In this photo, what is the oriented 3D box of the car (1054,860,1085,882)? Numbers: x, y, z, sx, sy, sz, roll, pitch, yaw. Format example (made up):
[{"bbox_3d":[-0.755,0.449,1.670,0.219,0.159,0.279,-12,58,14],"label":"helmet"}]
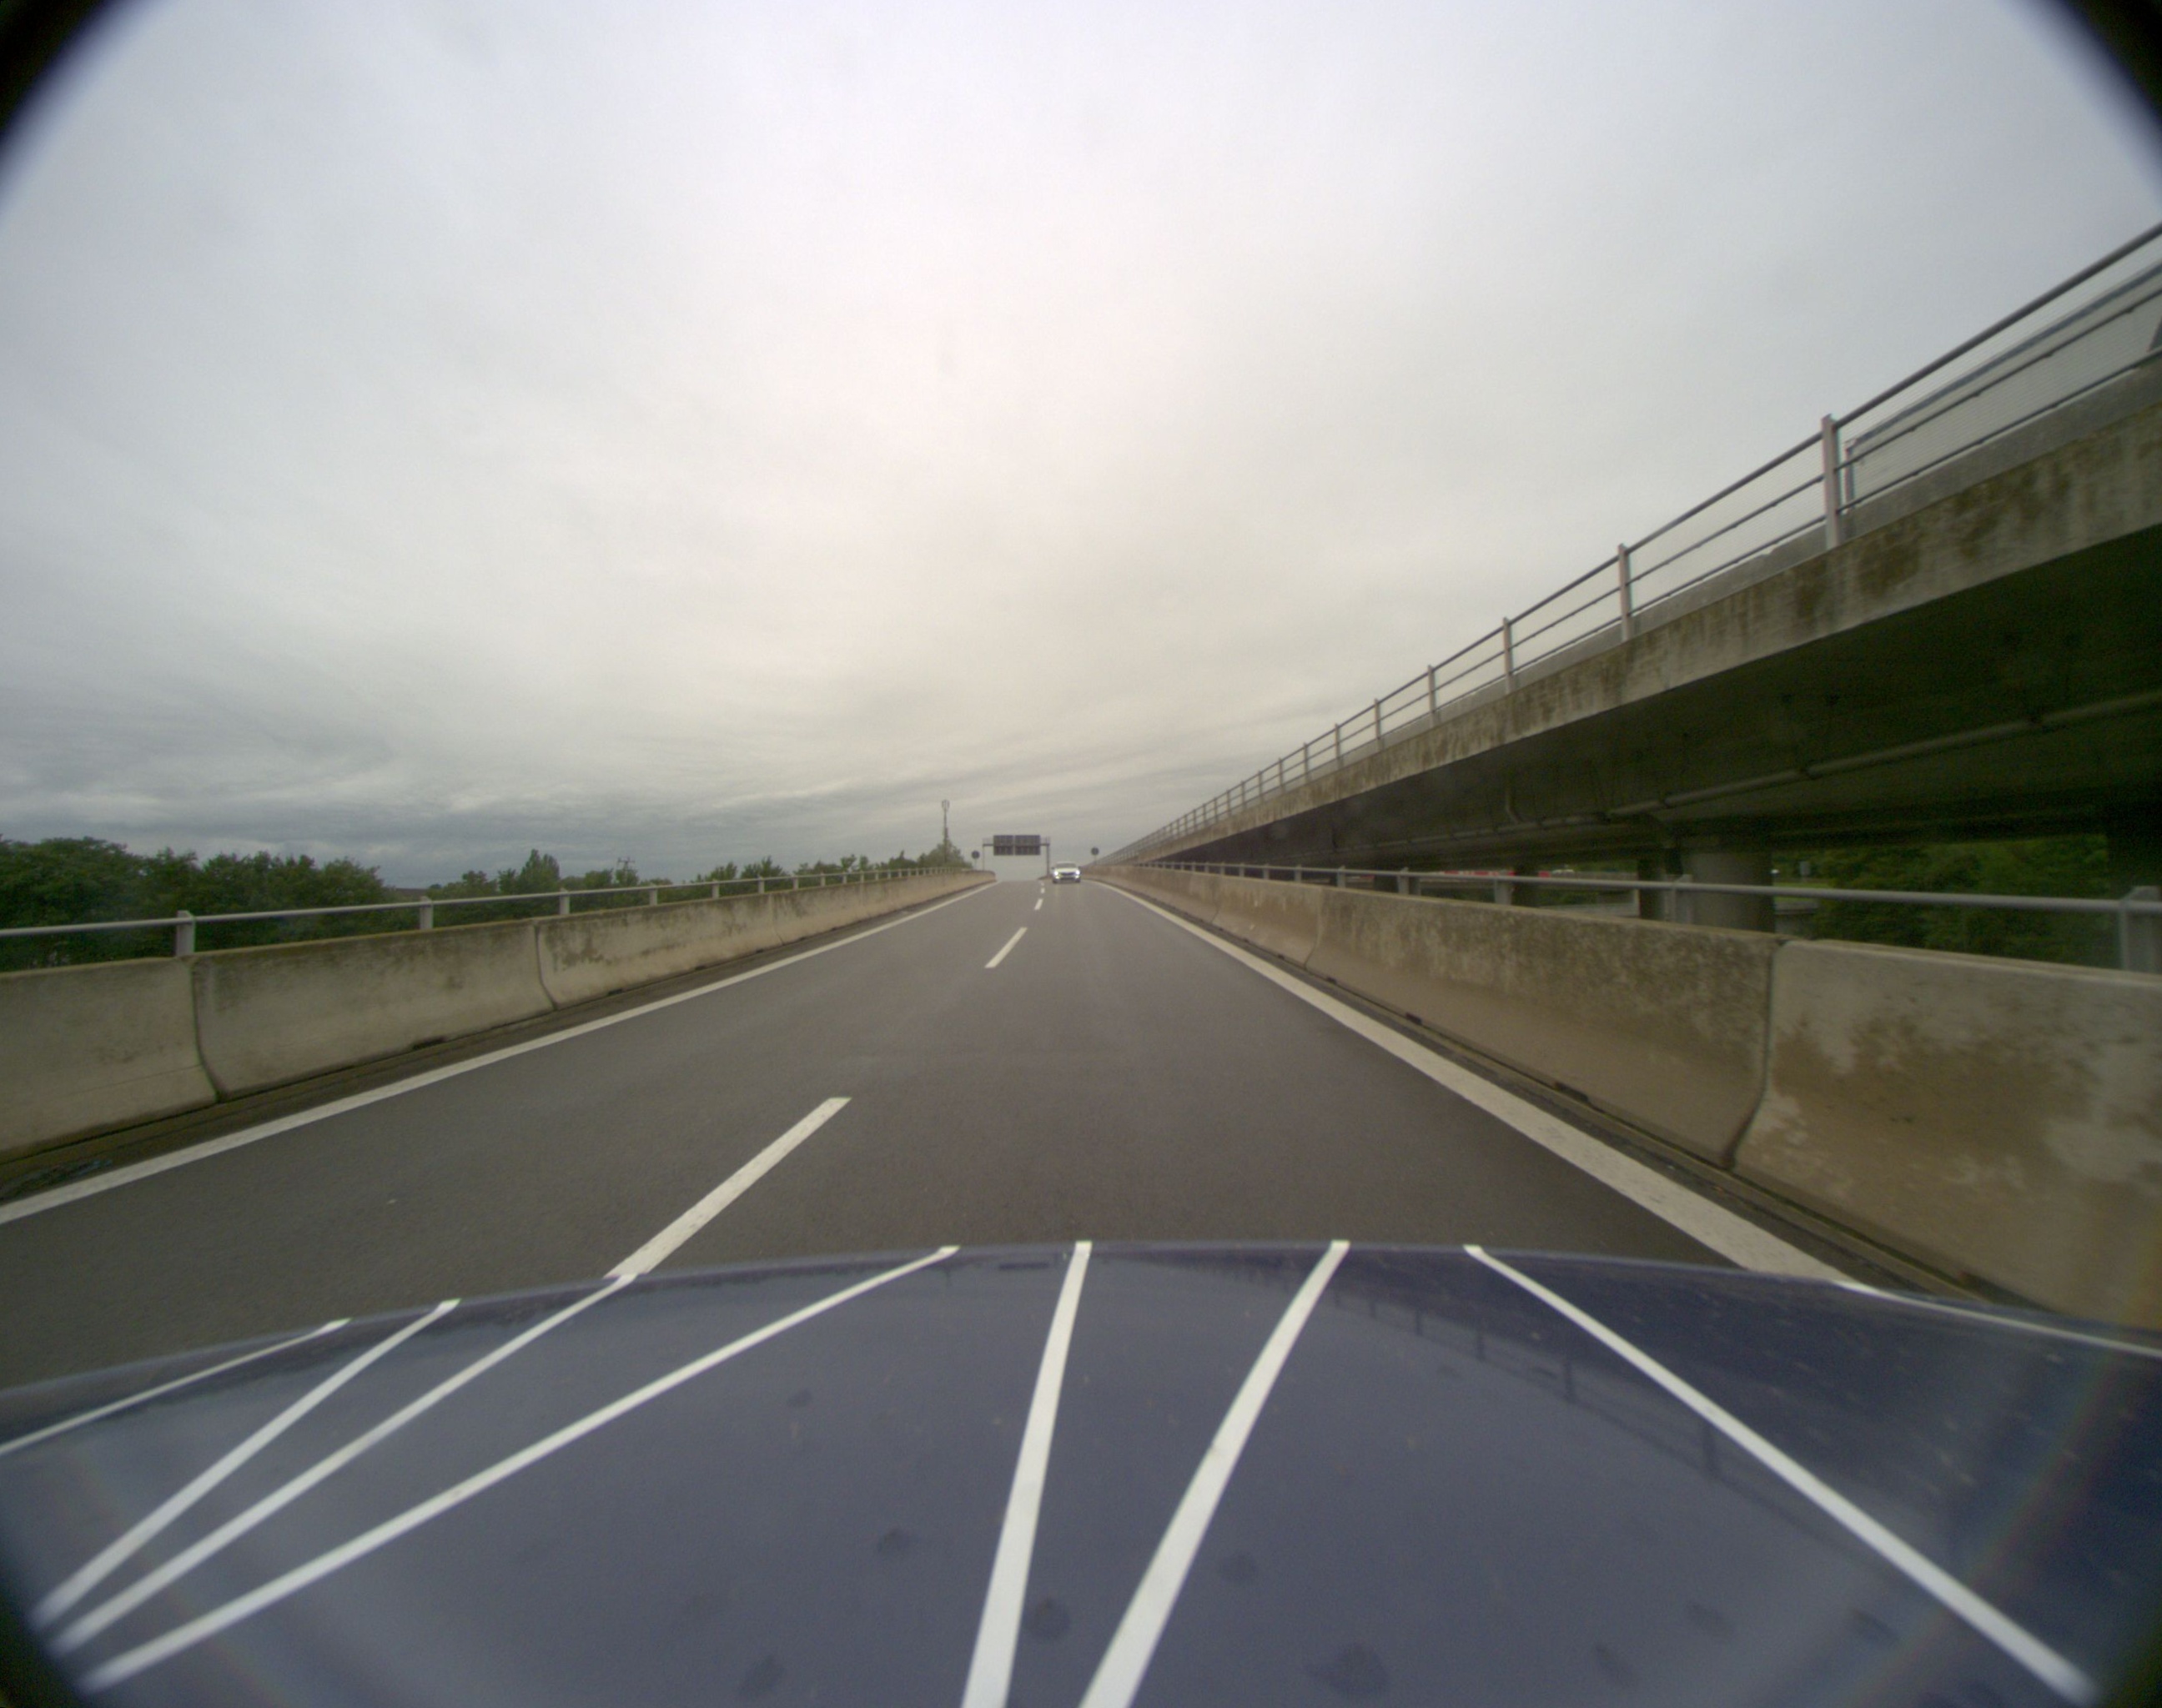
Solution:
[{"bbox_3d":[-0.820,1.108,51.323,1.915,1.439,4.555,0,-1,-3],"label":"car"}]

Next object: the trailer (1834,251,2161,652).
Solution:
[{"bbox_3d":[13.012,-4.958,4.566,2.664,3.278,14.062,-2,-2,-1],"label":"trailer"}]
